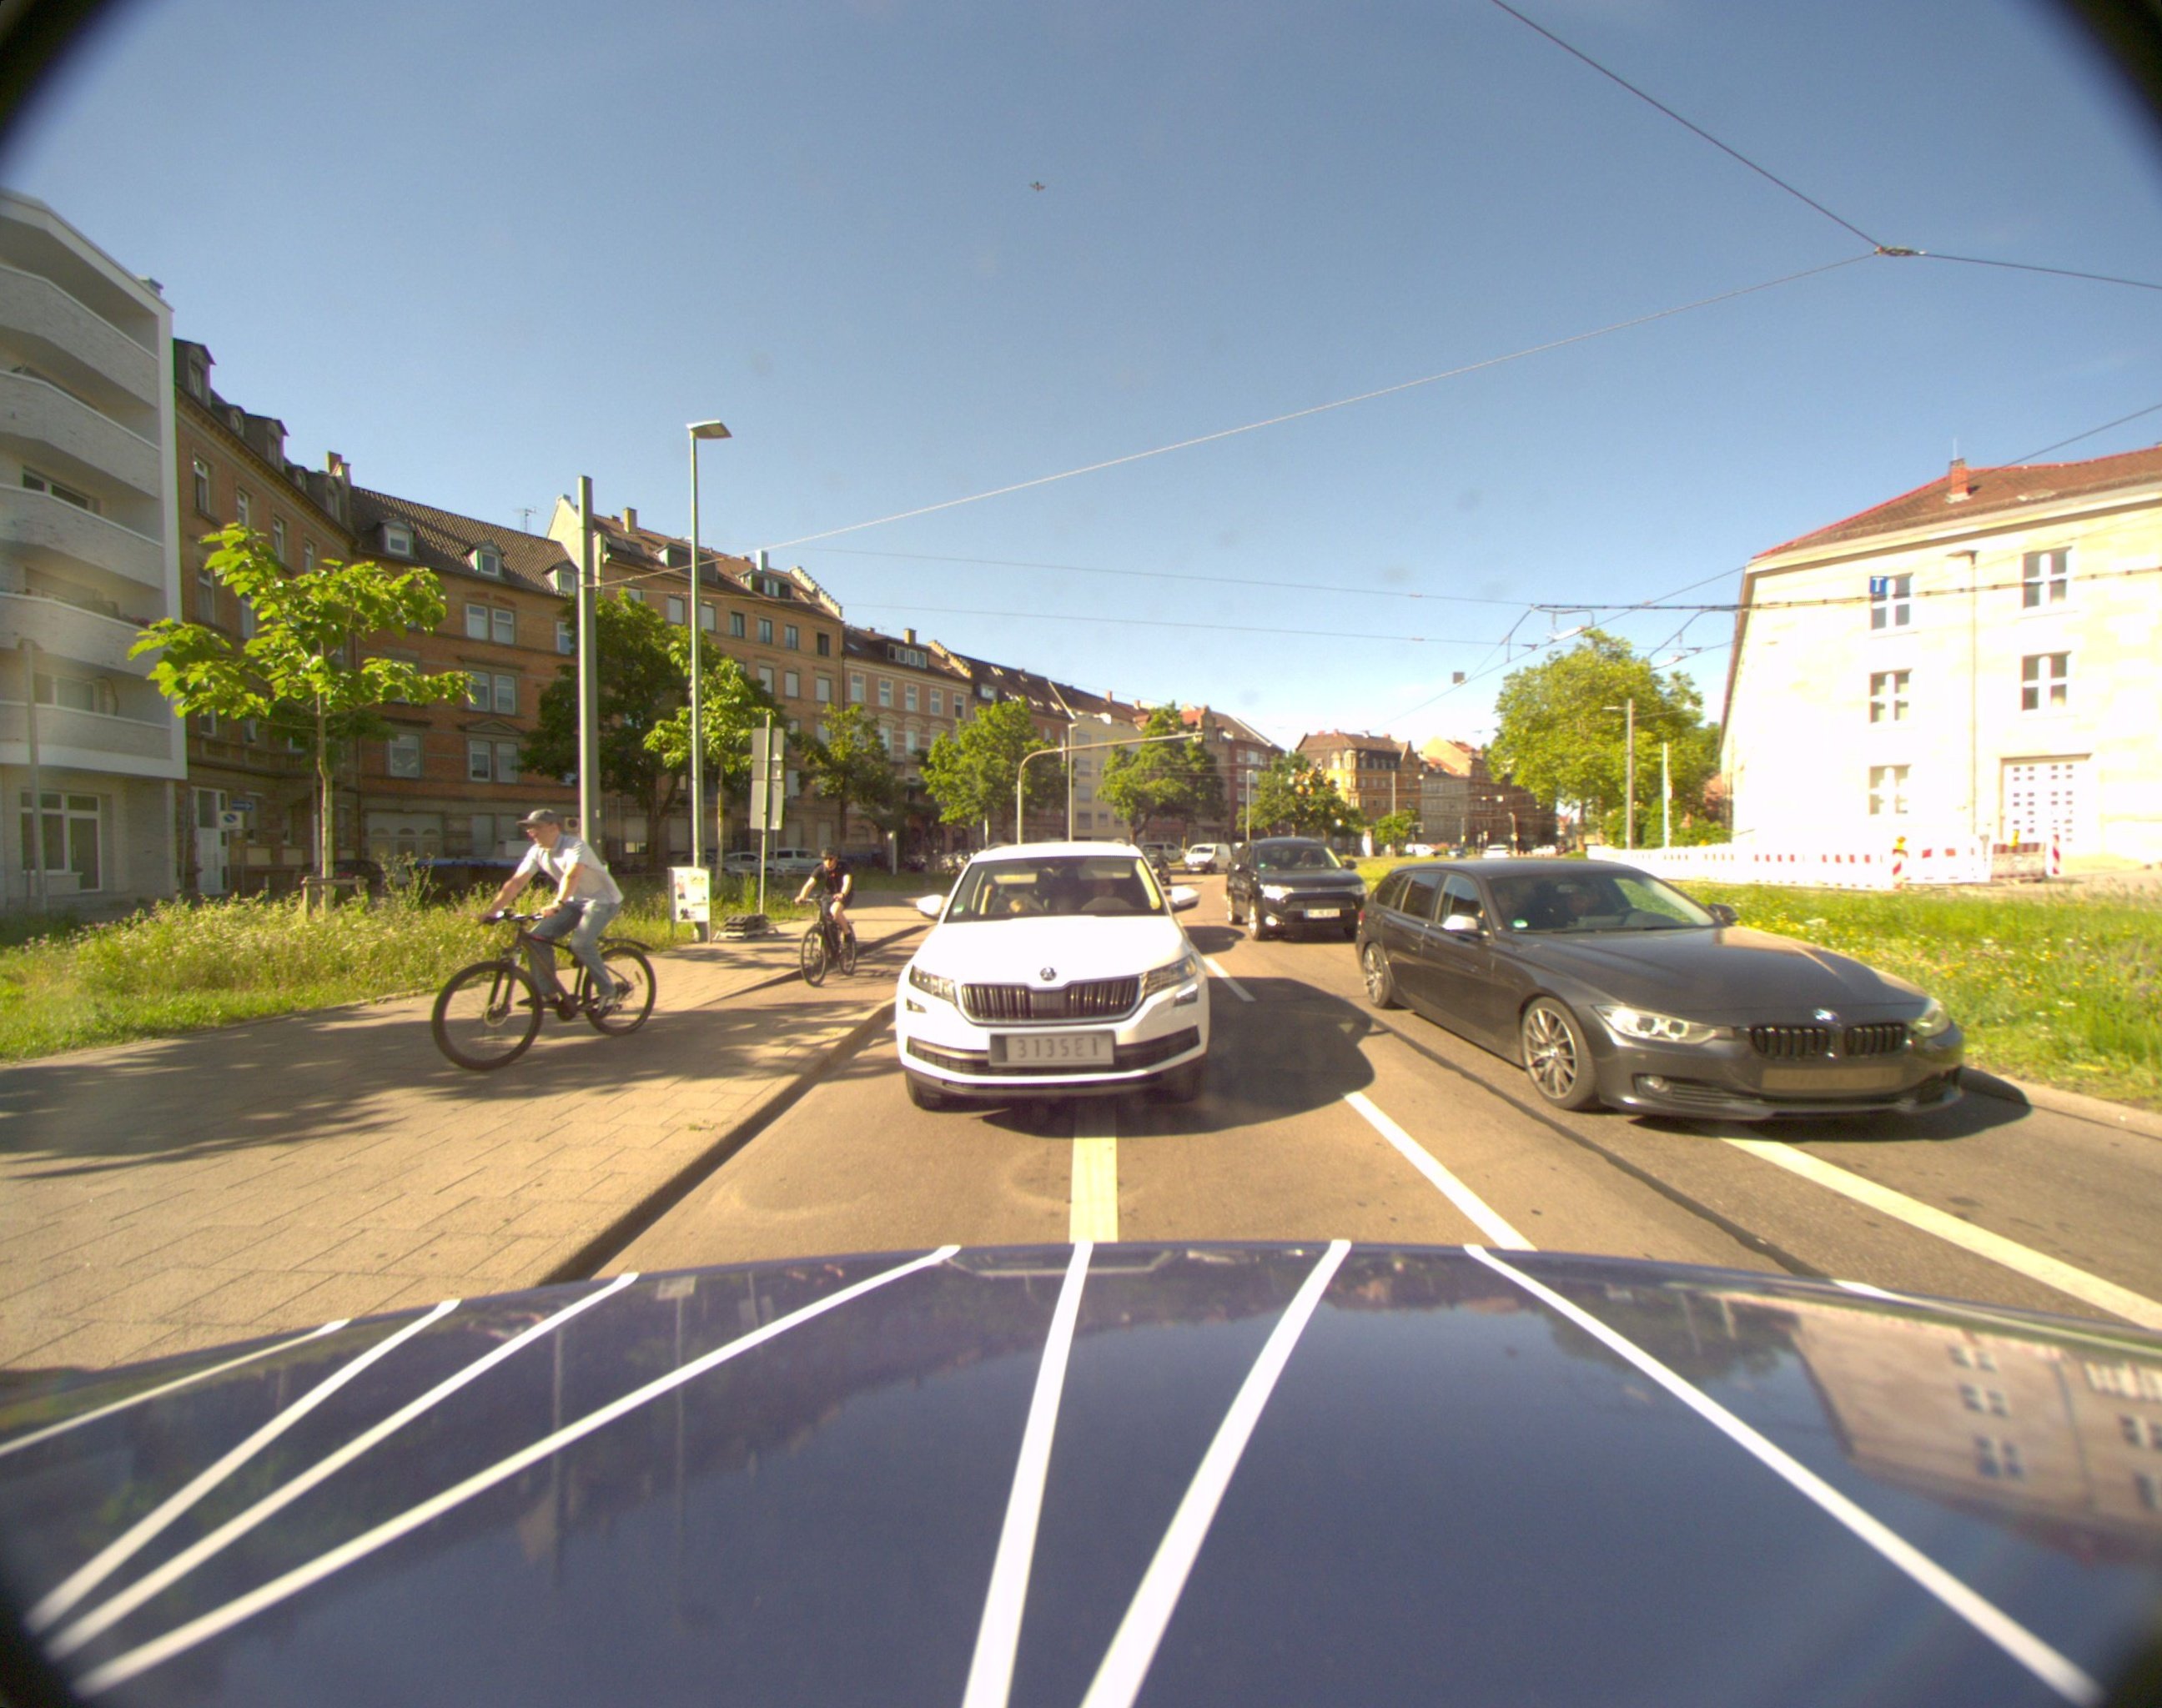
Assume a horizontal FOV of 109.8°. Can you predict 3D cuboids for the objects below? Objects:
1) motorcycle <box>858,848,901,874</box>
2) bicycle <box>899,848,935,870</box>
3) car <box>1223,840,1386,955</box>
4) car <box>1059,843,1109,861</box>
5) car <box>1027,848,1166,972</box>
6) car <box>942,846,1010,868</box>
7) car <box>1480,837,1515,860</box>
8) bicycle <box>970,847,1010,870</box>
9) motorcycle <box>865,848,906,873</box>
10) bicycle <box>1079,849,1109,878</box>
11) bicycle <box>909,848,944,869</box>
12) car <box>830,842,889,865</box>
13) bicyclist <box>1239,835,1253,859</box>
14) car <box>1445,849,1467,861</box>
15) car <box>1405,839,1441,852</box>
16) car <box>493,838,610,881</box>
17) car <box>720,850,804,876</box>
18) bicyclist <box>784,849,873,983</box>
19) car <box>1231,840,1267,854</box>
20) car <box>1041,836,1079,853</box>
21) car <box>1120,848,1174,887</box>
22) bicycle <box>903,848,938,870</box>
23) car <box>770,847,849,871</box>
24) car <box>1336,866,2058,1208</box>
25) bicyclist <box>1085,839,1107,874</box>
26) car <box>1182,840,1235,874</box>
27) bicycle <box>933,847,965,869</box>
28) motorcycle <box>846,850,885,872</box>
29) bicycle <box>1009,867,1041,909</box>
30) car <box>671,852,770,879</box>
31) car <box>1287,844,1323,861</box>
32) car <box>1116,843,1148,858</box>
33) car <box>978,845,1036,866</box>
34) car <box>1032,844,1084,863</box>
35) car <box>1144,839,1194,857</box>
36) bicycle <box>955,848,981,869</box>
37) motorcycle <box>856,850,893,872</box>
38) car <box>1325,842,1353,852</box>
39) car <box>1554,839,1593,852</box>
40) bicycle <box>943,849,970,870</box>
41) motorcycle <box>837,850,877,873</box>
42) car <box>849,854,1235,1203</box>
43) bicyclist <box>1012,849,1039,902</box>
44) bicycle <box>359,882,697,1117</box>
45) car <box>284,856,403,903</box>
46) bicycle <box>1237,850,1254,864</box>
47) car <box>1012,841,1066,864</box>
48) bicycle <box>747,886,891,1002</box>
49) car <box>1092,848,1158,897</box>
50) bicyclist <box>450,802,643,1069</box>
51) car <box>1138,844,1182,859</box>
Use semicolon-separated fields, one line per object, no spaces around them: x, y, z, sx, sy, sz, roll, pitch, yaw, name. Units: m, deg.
-11.175;0.380;42.203;2.200;1.322;0.663;-2;1;13;motorcycle
-9.739;0.312;45.066;2.198;1.260;0.664;-2;1;30;bicycle
3.701;0.630;13.394;1.841;1.636;4.399;-2;0;5;car
0.264;-0.152;61.160;3.823;1.398;1.600;0;1;6;car
0.238;0.766;12.603;1.842;1.636;4.397;-2;0;1;car
-7.039;0.181;51.291;4.322;1.398;1.682;0;1;3;car
30.978;-0.406;56.612;1.821;1.636;4.188;-1;0;22;car
-5.472;0.273;45.735;2.207;1.260;0.662;-3;1;-25;bicycle
-11.145;0.363;43.289;2.200;1.315;0.664;-2;1;18;motorcycle
0.630;0.427;36.744;0.735;1.353;2.078;0;1;21;bicycle
-9.506;0.285;46.707;2.198;1.260;0.664;-2;1;32;bicycle
-15.607;-0.050;53.666;1.547;1.578;3.709;1;2;41;car
13.727;-0.606;63.258;0.847;2.002;1.198;0;1;26;bicyclist
51.928;0.102;105.108;1.835;1.637;4.157;1;2;40;car
52.317;-1.291;116.215;4.578;1.864;2.004;-2;1;38;car
-27.114;0.222;39.005;2.047;2.026;4.510;1;2;41;car
-16.403;0.445;39.101;3.696;1.244;1.683;0;1;13;car
-3.202;0.753;9.719;0.630;1.619;0.972;-1;1;13;bicyclist
18.698;-0.811;84.654;3.823;1.581;1.600;0;1;6;car
-1.936;-0.934;71.661;1.547;1.578;3.607;1;2;41;car
3.102;0.564;34.764;1.837;1.637;4.152;0;1;14;car
-9.703;0.301;46.004;2.198;1.260;0.664;-2;1;32;bicycle
-14.677;0.261;41.190;3.700;1.244;1.540;0;1;2;car
3.482;0.853;5.590;1.741;1.359;4.426;-2;0;1;car
0.727;0.129;36.999;0.734;1.685;0.973;0;1;22;bicyclist
8.338;0.133;49.367;1.978;2.074;4.721;0;1;27;car
-7.725;0.246;44.513;0.664;1.260;2.198;-3;1;-45;bicycle
-12.937;0.421;45.620;2.314;1.276;0.664;-2;1;24;motorcycle
-1.718;1.025;23.712;0.668;1.190;2.155;-1;1;4;bicycle
-17.496;0.539;36.902;4.156;1.244;1.683;0;1;13;car
19.928;-0.182;67.484;1.836;1.464;4.722;1;1;31;car
5.472;-0.413;80.723;1.547;1.578;3.607;1;2;41;car
-5.223;0.094;53.960;3.822;1.398;1.683;0;1;9;car
-1.772;-0.047;58.708;3.823;1.398;1.600;0;1;6;car
8.201;-0.580;70.605;4.578;1.658;1.600;0;1;7;car
-7.119;0.314;47.749;0.664;1.260;2.199;-3;1;-36;bicycle
-12.599;0.407;46.400;2.199;1.260;0.664;-2;1;24;motorcycle
42.598;-1.144;125.335;4.058;1.647;1.770;1;2;34;car
66.534;-1.140;102.629;4.065;1.647;1.767;0;1;7;car
-7.682;0.347;46.755;0.664;1.260;2.199;-3;1;-36;bicycle
-13.286;0.444;45.015;2.314;1.270;0.664;-2;1;24;motorcycle
-0.224;0.857;5.945;1.842;1.636;4.397;-2;0;-1;car
-1.715;0.659;23.676;0.668;1.619;0.971;-1;1;5;bicyclist
-3.912;0.926;5.693;0.758;1.293;2.155;-1;1;6;bicycle
-26.165;0.833;27.144;1.835;1.419;4.378;-1;1;-27;car
13.663;0.222;63.159;0.763;1.138;2.287;0;1;27;bicycle
-3.104;-0.130;56.099;3.825;1.698;1.682;0;1;3;car
-3.228;1.060;9.628;0.637;1.190;2.156;-1;1;13;bicycle
1.647;0.603;26.952;1.838;1.543;4.151;0;1;10;car
-3.942;0.566;5.669;0.809;1.855;0.749;-1;2;6;bicyclist
7.130;-0.241;68.175;3.823;1.372;1.600;0;1;9;car
